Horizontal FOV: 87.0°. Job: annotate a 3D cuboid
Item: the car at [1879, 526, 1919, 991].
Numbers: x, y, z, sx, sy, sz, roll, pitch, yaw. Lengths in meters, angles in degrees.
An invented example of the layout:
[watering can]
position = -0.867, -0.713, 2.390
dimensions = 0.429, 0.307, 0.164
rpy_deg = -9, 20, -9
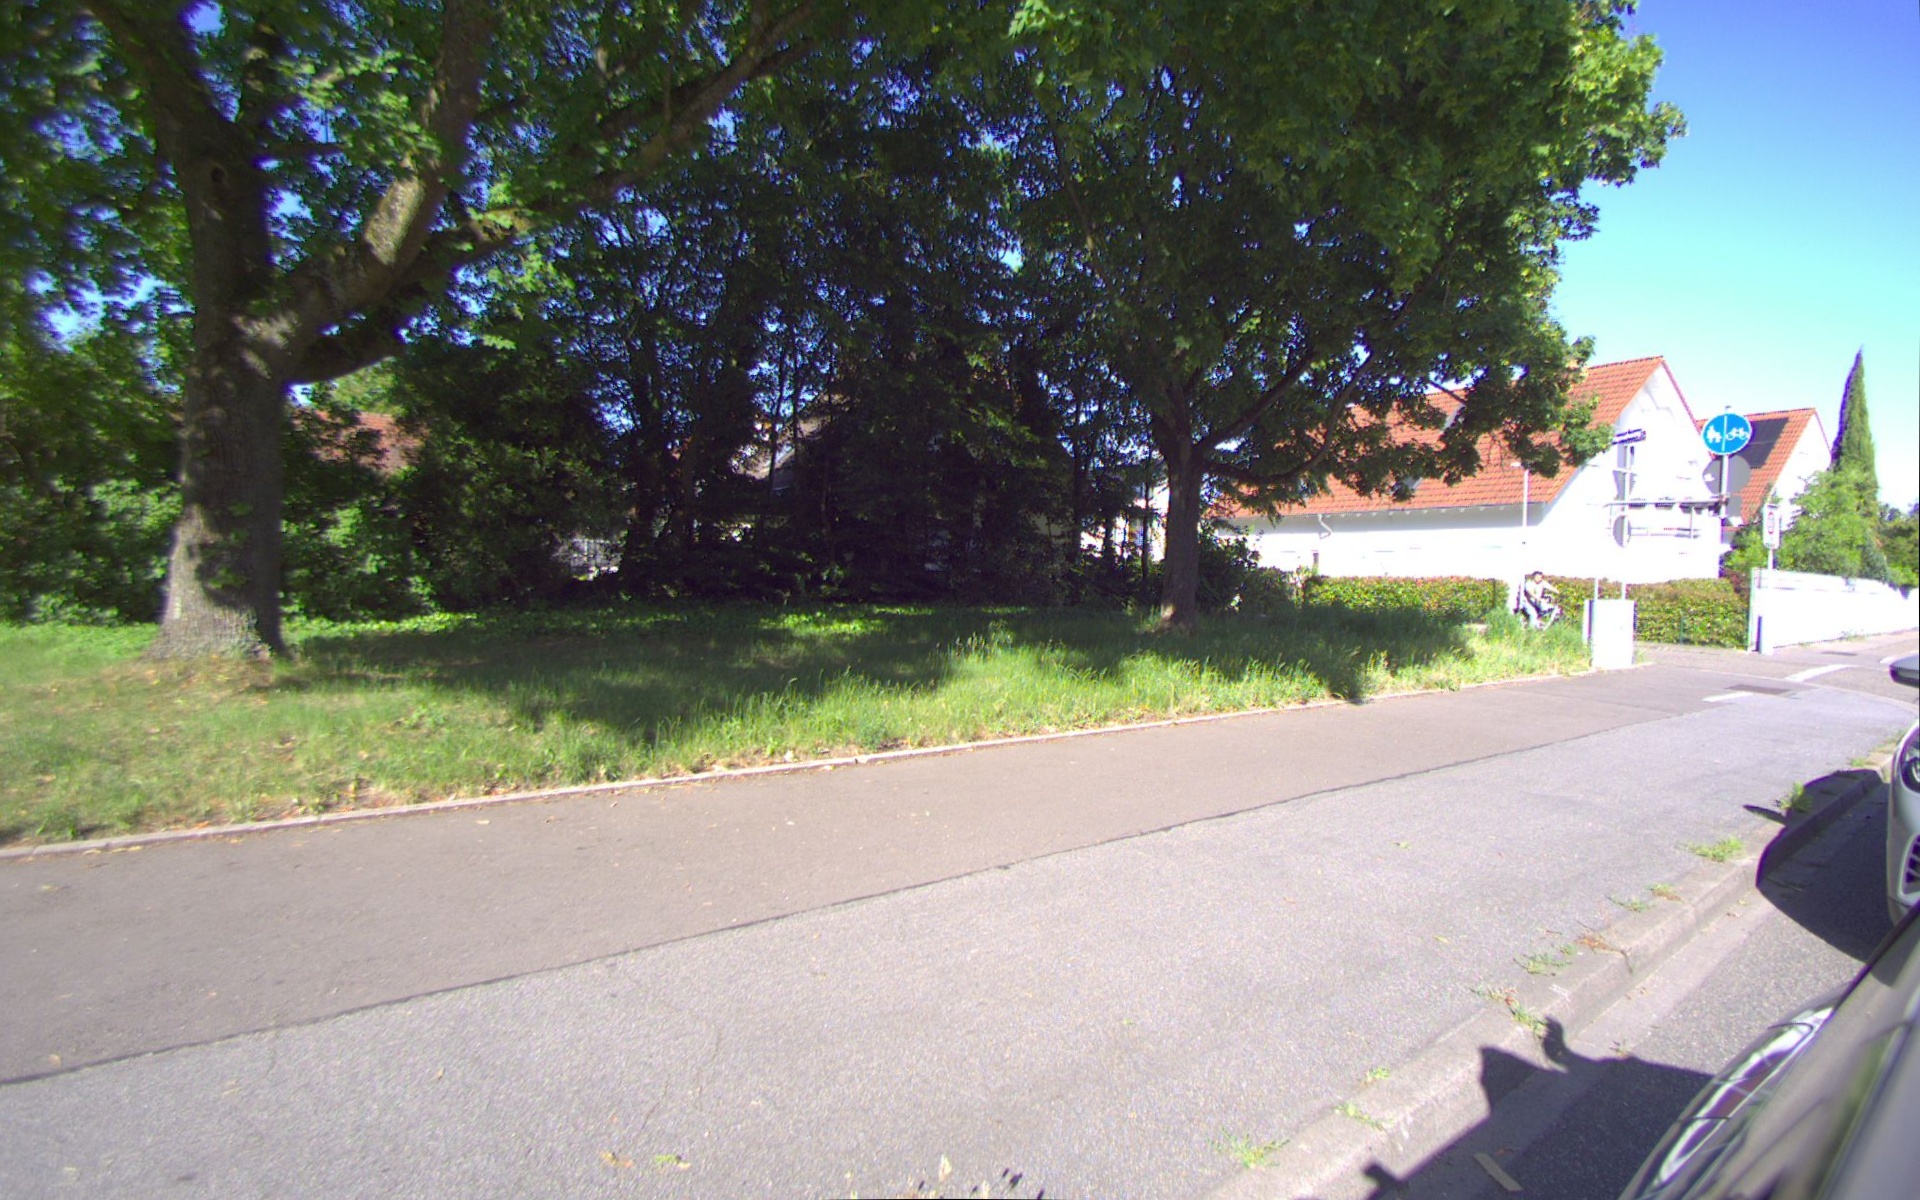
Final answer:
[car]
position = 5.636, 0.603, 4.436
dimensions = 4.133, 1.710, 1.857
rpy_deg = 0, 3, -41

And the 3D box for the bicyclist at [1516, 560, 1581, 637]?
[bicyclist]
position = 12.995, -0.043, 22.376
dimensions = 0.568, 1.600, 1.000
rpy_deg = 4, 3, -15

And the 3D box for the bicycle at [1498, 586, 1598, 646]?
[bicycle]
position = 12.966, 0.319, 22.390
dimensions = 0.568, 1.110, 1.993
rpy_deg = 4, 3, -15
